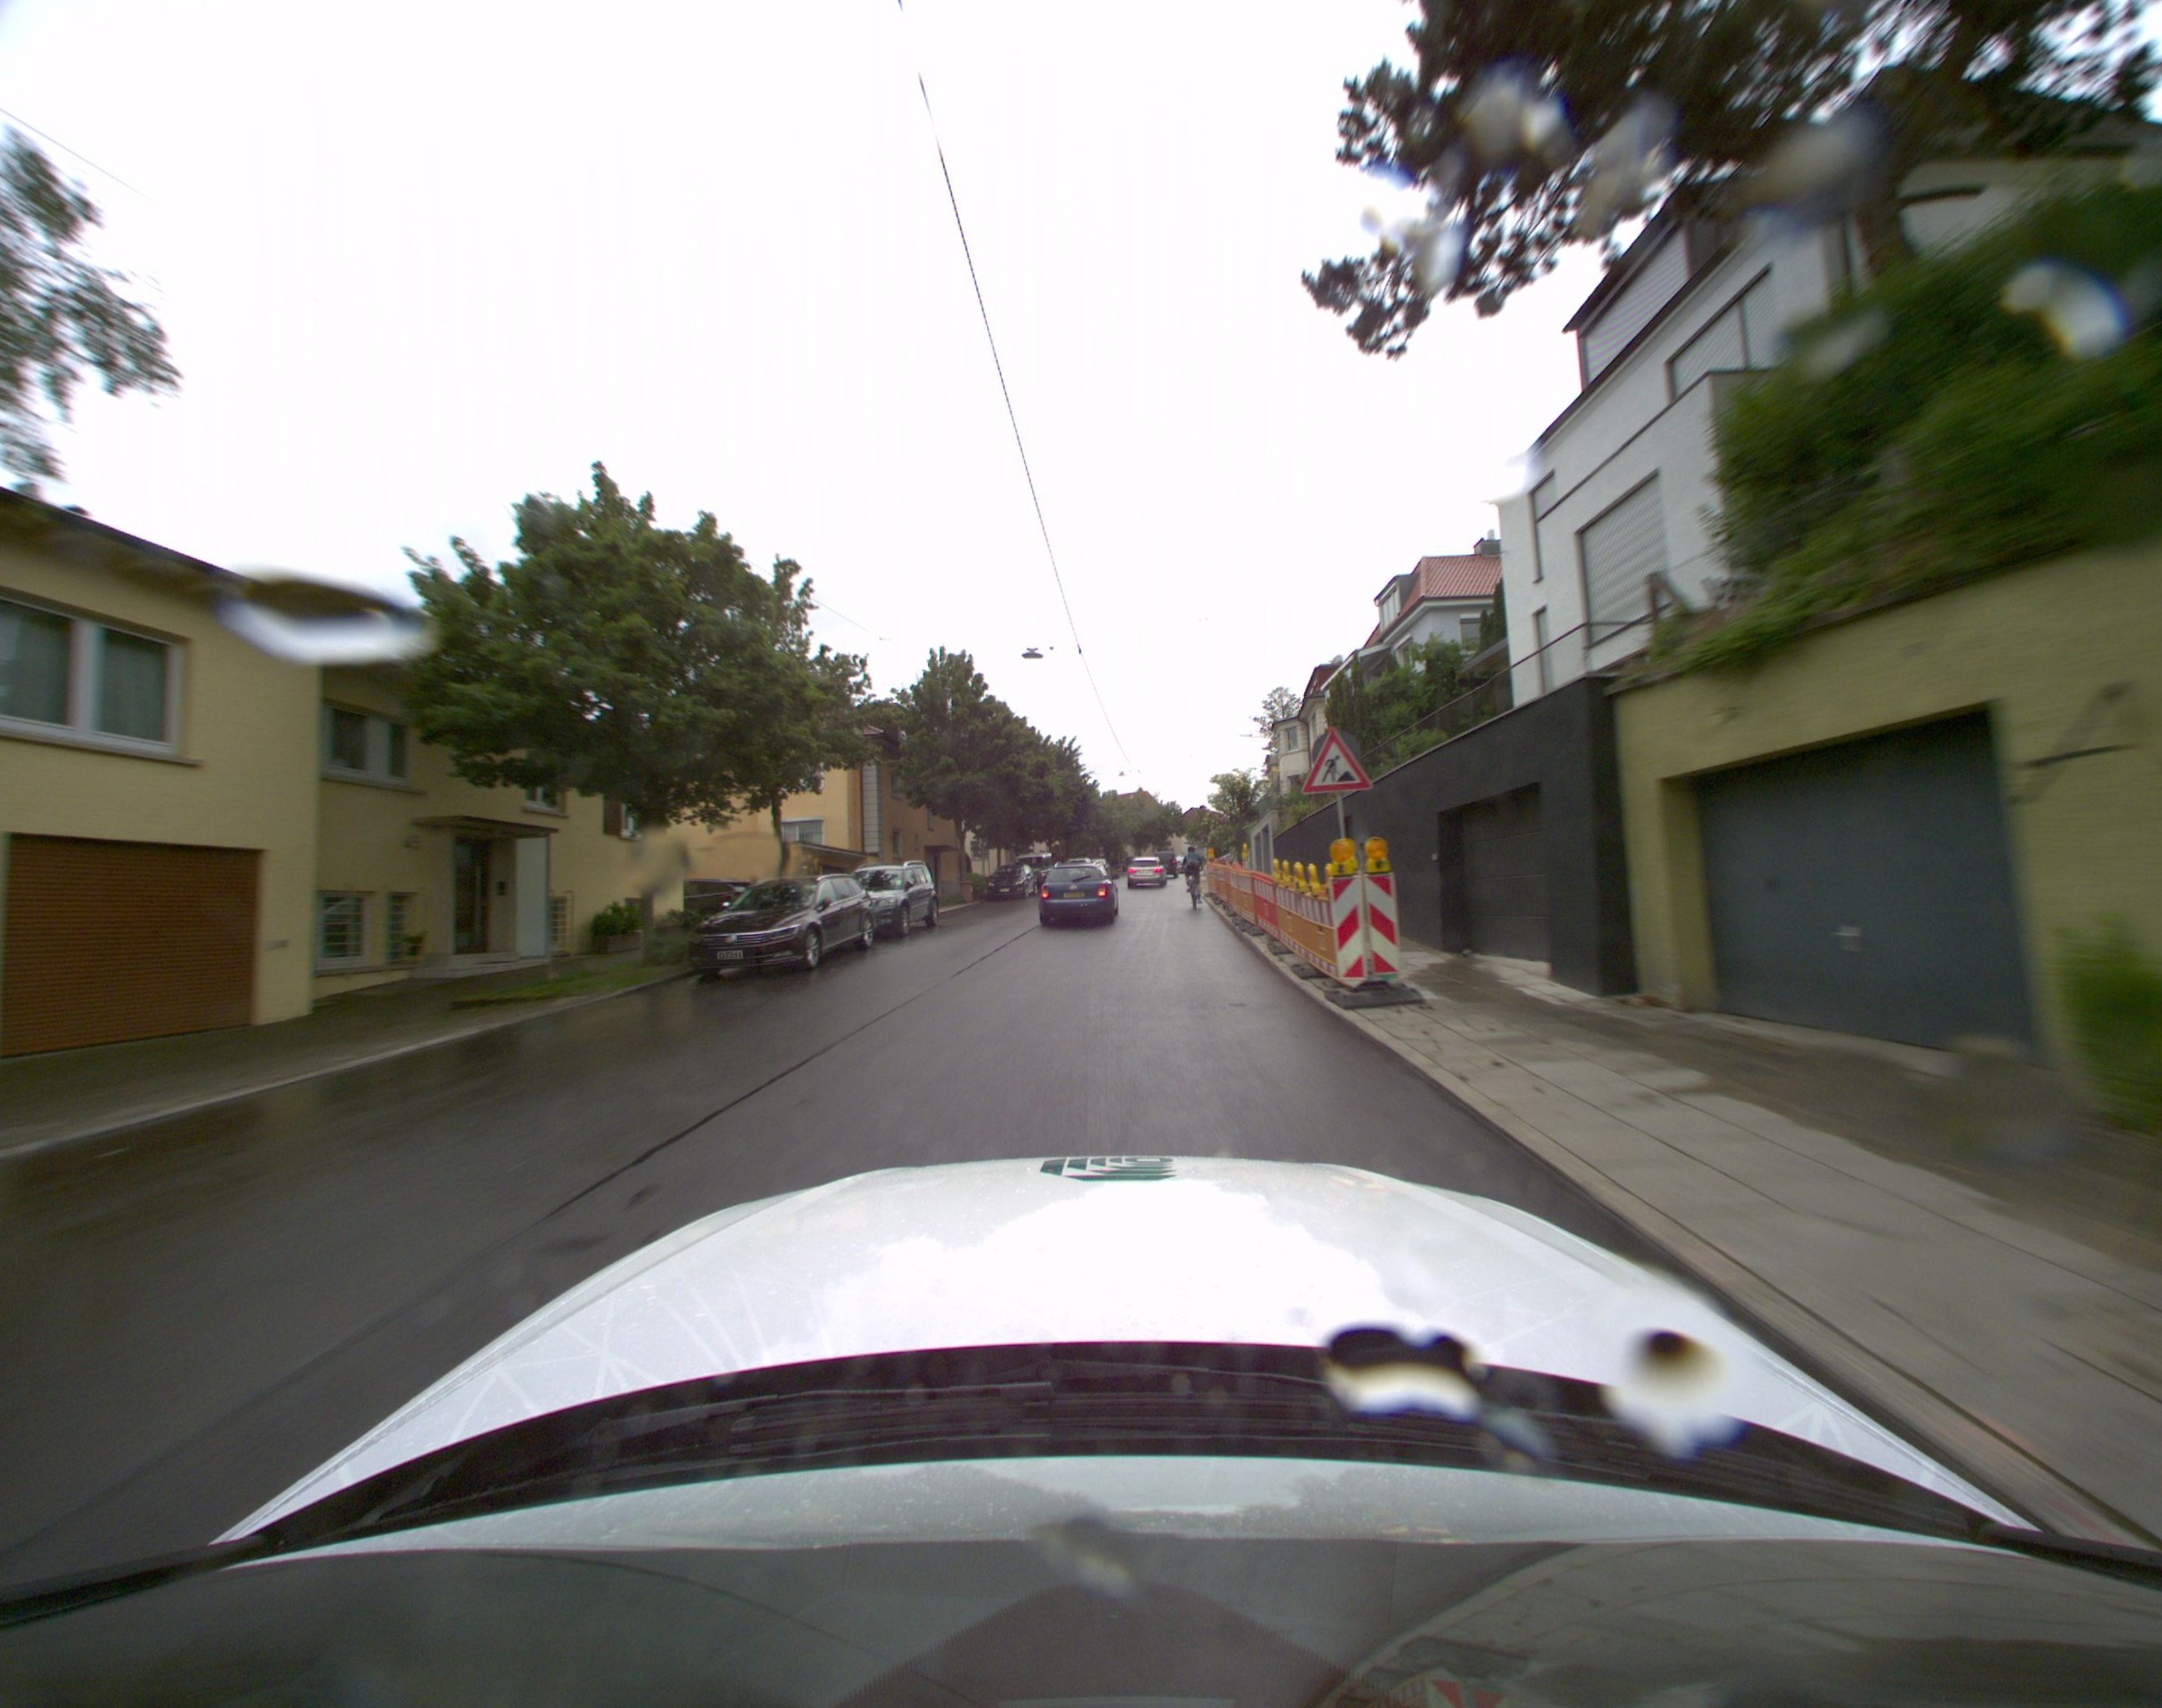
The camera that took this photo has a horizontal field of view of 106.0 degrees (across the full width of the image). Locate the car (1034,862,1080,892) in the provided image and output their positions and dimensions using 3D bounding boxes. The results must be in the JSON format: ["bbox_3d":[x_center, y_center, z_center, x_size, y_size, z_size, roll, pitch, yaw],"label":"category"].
[{"bbox_3d":[-1.356,1.317,47.999,1.758,1.387,4.646,-4,0,9],"label":"car"}]

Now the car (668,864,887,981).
[{"bbox_3d":[-4.973,1.029,14.138,1.761,1.535,4.609,-4,0,3],"label":"car"}]

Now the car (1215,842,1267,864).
[{"bbox_3d":[13.024,-0.103,66.208,3.959,1.466,1.746,-4,0,13],"label":"car"}]

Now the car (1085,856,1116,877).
[{"bbox_3d":[1.572,0.995,65.027,1.757,1.539,4.018,-4,-1,10],"label":"car"}]

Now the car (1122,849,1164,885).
[{"bbox_3d":[3.136,0.606,40.613,1.966,1.635,4.242,0,1,5],"label":"car"}]

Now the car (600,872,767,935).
[{"bbox_3d":[-11.816,1.459,24.381,4.033,1.646,1.866,-2,-1,5],"label":"car"}]

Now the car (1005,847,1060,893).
[{"bbox_3d":[-2.394,0.755,41.478,1.782,2.049,4.791,-5,0,7],"label":"car"}]

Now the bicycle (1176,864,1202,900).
[{"bbox_3d":[3.150,0.798,23.820,0.726,0.965,1.674,-1,0,7],"label":"bicycle"}]

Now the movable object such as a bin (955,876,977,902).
[{"bbox_3d":[-4.767,1.447,33.887,0.680,1.011,0.708,-7,0,1],"label":"movable object such as a bin"}]

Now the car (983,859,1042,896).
[{"bbox_3d":[-2.972,1.001,36.233,1.759,1.436,4.354,-4,-1,6],"label":"car"}]

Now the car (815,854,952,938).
[{"bbox_3d":[-4.589,0.913,19.608,1.759,1.634,4.116,-6,0,6],"label":"car"}]

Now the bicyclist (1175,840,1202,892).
[{"bbox_3d":[3.135,0.357,23.787,0.721,1.472,0.888,-2,-1,6],"label":"bicyclist"}]

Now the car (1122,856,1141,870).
[{"bbox_3d":[5.222,0.890,84.249,1.465,1.295,3.231,0,1,12],"label":"car"}]

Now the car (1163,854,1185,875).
[{"bbox_3d":[8.248,0.899,72.039,1.723,1.768,4.246,0,1,9],"label":"car"}]

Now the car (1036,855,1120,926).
[{"bbox_3d":[0.029,0.808,20.080,1.725,1.466,4.006,0,1,4],"label":"car"}]

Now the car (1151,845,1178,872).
[{"bbox_3d":[5.958,0.256,57.539,1.724,1.768,4.245,0,1,8],"label":"car"}]

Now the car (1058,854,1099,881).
[{"bbox_3d":[-0.104,0.873,54.520,1.757,1.627,4.704,-4,-1,11],"label":"car"}]
